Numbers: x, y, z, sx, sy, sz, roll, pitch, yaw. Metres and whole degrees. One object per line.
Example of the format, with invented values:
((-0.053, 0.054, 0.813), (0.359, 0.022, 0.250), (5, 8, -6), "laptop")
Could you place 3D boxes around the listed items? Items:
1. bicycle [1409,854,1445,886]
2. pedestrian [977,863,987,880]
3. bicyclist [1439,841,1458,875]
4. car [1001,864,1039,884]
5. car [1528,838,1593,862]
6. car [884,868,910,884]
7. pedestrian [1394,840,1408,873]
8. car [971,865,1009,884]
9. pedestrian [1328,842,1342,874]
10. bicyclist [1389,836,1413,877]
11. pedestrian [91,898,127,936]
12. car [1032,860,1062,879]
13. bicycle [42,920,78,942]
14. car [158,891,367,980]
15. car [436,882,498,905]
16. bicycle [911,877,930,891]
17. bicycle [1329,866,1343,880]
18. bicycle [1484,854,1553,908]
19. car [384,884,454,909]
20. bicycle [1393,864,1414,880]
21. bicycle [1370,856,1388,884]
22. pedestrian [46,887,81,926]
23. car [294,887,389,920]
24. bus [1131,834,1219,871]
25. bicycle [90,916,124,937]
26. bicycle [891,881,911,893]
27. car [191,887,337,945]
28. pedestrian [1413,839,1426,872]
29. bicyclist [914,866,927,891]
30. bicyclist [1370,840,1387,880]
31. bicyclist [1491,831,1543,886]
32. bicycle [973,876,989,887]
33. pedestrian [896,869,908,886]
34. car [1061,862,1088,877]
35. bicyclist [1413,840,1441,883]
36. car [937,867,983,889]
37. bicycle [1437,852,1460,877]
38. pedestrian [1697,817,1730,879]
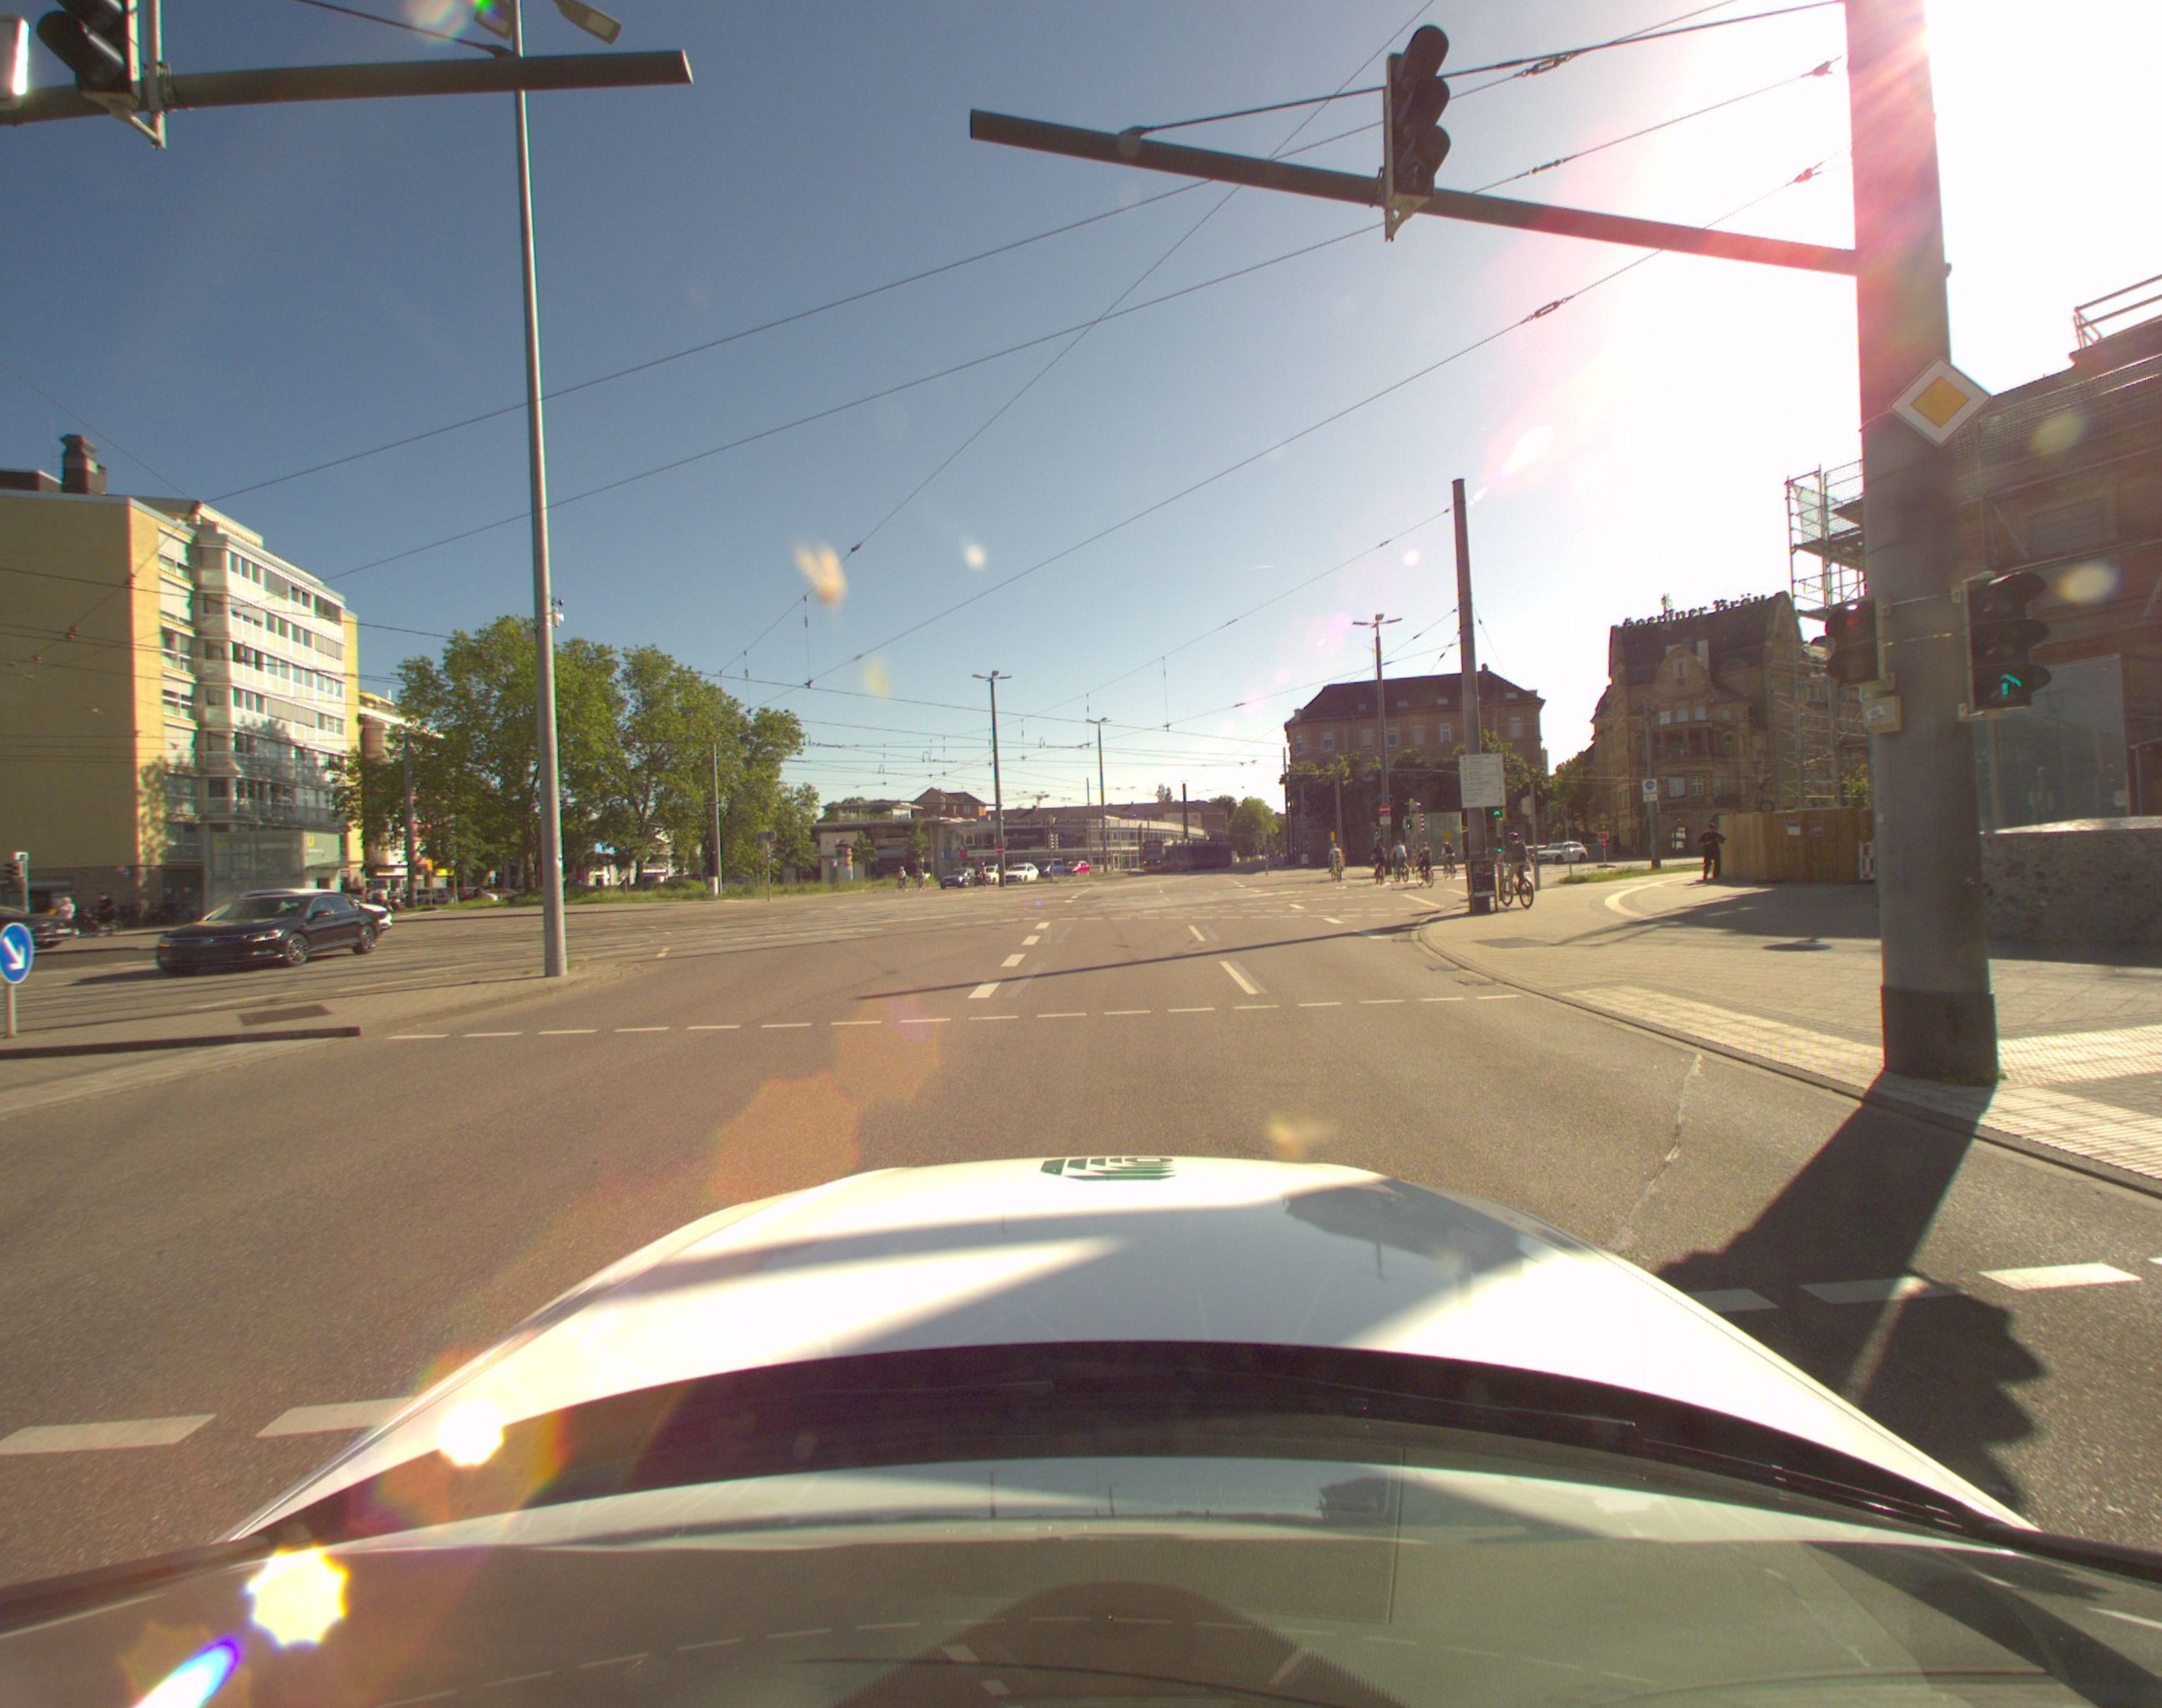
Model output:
((13.208, 0.591, 31.124), (0.681, 1.163, 1.886), (-2, -1, 6), "bicycle")
((-7.077, 1.248, 58.129), (0.419, 1.204, 0.753), (-3, -1, 19), "pedestrian")
((17.227, 0.189, 38.204), (0.568, 1.568, 0.950), (-3, -1, 11), "bicyclist")
((-4.626, 1.495, 62.551), (1.613, 1.382, 3.754), (-3, -1, 17), "car")
((34.407, -0.294, 58.389), (4.330, 1.563, 1.786), (-2, -1, -24), "car")
((-22.056, 2.621, 97.888), (1.959, 1.706, 4.084), (-2, -1, 2), "car")
((20.195, 0.156, 51.358), (0.574, 2.013, 0.449), (-2, -1, -16), "pedestrian")
((-7.132, 1.602, 64.490), (1.613, 1.424, 3.702), (-3, -1, 16), "car")
((12.504, 0.202, 40.058), (0.543, 1.562, 0.863), (-3, -1, 22), "pedestrian")
((14.310, 0.106, 36.427), (0.743, 1.779, 0.926), (-3, -1, 9), "bicyclist")
((-41.665, 2.707, 34.914), (0.769, 1.560, 0.610), (-2, -1, -28), "pedestrian")
((-3.159, 1.441, 76.546), (1.613, 1.692, 3.702), (-3, -1, 16), "car")
((-42.873, 3.210, 34.210), (0.489, 0.812, 1.595), (-2, -1, -35), "bicycle")
((-16.518, 1.553, 16.718), (1.731, 1.438, 4.140), (-2, -1, -26), "car")
((-51.631, 3.314, 68.551), (3.742, 1.662, 1.585), (-2, -1, -18), "car")
((-11.480, 2.159, 58.287), (0.463, 0.926, 1.484), (-3, -1, 25), "bicycle")
((12.582, 0.927, 40.167), (0.532, 0.655, 1.734), (-3, -1, 21), "bicycle")
((10.772, 0.654, 20.119), (0.687, 1.218, 1.835), (-4, -1, 2), "bicycle")
((-50.050, 3.179, 61.631), (3.742, 1.662, 1.585), (-2, -1, -18), "car")
((14.347, 0.814, 36.276), (0.534, 0.655, 1.471), (-3, -1, 9), "bicycle")
((12.493, 0.660, 34.171), (0.620, 1.114, 1.859), (0, -1, 18), "bicycle")
((-42.852, 2.200, 34.296), (0.717, 1.560, 0.552), (-2, -1, -27), "pedestrian")
((-43.075, 2.861, 47.513), (3.742, 1.662, 1.585), (-2, -1, -18), "car")
((11.249, 0.003, 92.242), (3.804, 3.608, 24.993), (-1, -1, 21), "bus")
((-41.530, 3.069, 34.730), (0.462, 0.780, 1.789), (-2, -1, -35), "bicycle")
((-12.458, 2.284, 56.401), (0.418, 0.718, 1.484), (-3, -1, 32), "bicycle")
((-26.159, 1.968, 26.072), (4.255, 1.654, 1.869), (-3, -1, 24), "car")
((20.892, 0.084, 50.284), (0.461, 2.013, 0.449), (-2, -1, -16), "pedestrian")
((-11.483, 1.760, 58.136), (0.563, 1.714, 0.652), (-3, -1, 25), "bicyclist")
((12.483, 0.261, 34.141), (0.620, 1.637, 0.999), (0, -1, 17), "bicyclist")
((10.795, 0.125, 20.172), (0.717, 1.279, 0.907), (-4, -1, 1), "bicyclist")
((-7.113, 1.944, 57.952), (0.419, 0.718, 1.642), (-3, -1, 19), "bicycle")
((-12.431, 1.630, 56.498), (0.418, 1.204, 0.685), (-3, -1, 32), "pedestrian")
((-0.613, 1.553, 83.618), (1.613, 1.364, 3.703), (-3, -1, 18), "car")
((13.215, 0.297, 31.132), (0.682, 1.598, 0.979), (-2, -1, 6), "bicyclist")
((-8.647, 1.715, 58.563), (1.689, 1.354, 3.719), (-3, -1, 19), "car")
((17.252, 0.464, 38.253), (0.568, 1.125, 1.746), (-3, -1, 11), "bicycle")
((19.639, -0.183, 25.292), (0.692, 1.881, 0.725), (-3, -1, 35), "pedestrian")
